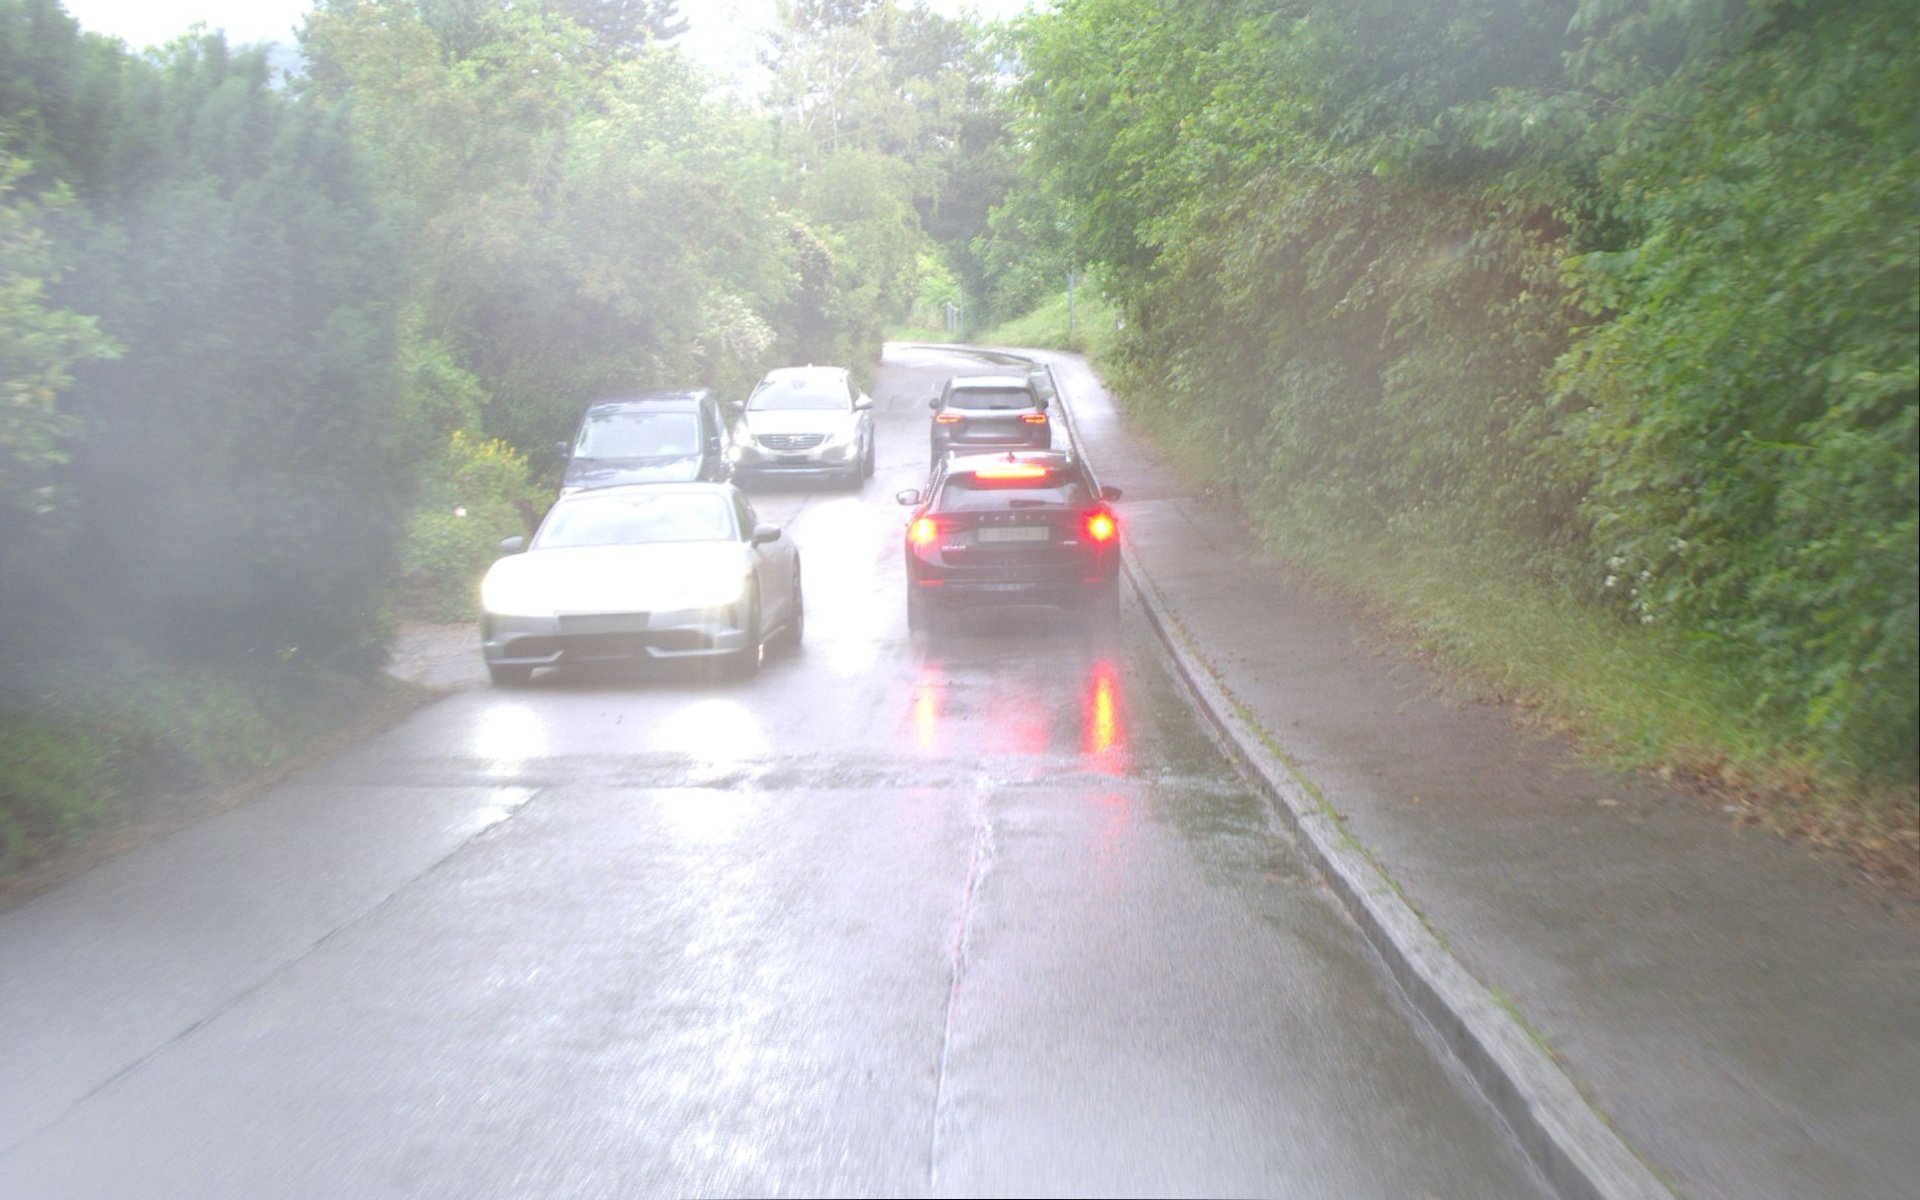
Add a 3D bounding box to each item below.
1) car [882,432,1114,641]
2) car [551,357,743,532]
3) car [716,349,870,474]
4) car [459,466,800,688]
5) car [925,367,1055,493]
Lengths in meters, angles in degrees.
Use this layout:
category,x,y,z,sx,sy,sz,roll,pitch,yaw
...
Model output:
category,x,y,z,sx,sy,sz,roll,pitch,yaw
car,0.260,-0.601,29.208,1.699,1.445,4.002,-2,5,-2
car,-3.609,-1.872,40.298,1.689,1.776,4.234,-2,5,1
car,-2.398,-2.791,50.274,2.048,1.595,4.231,0,6,0
car,-2.412,-0.193,26.235,1.941,1.517,4.579,-1,1,3
car,0.427,-2.525,51.885,1.863,1.737,4.000,-1,1,0
